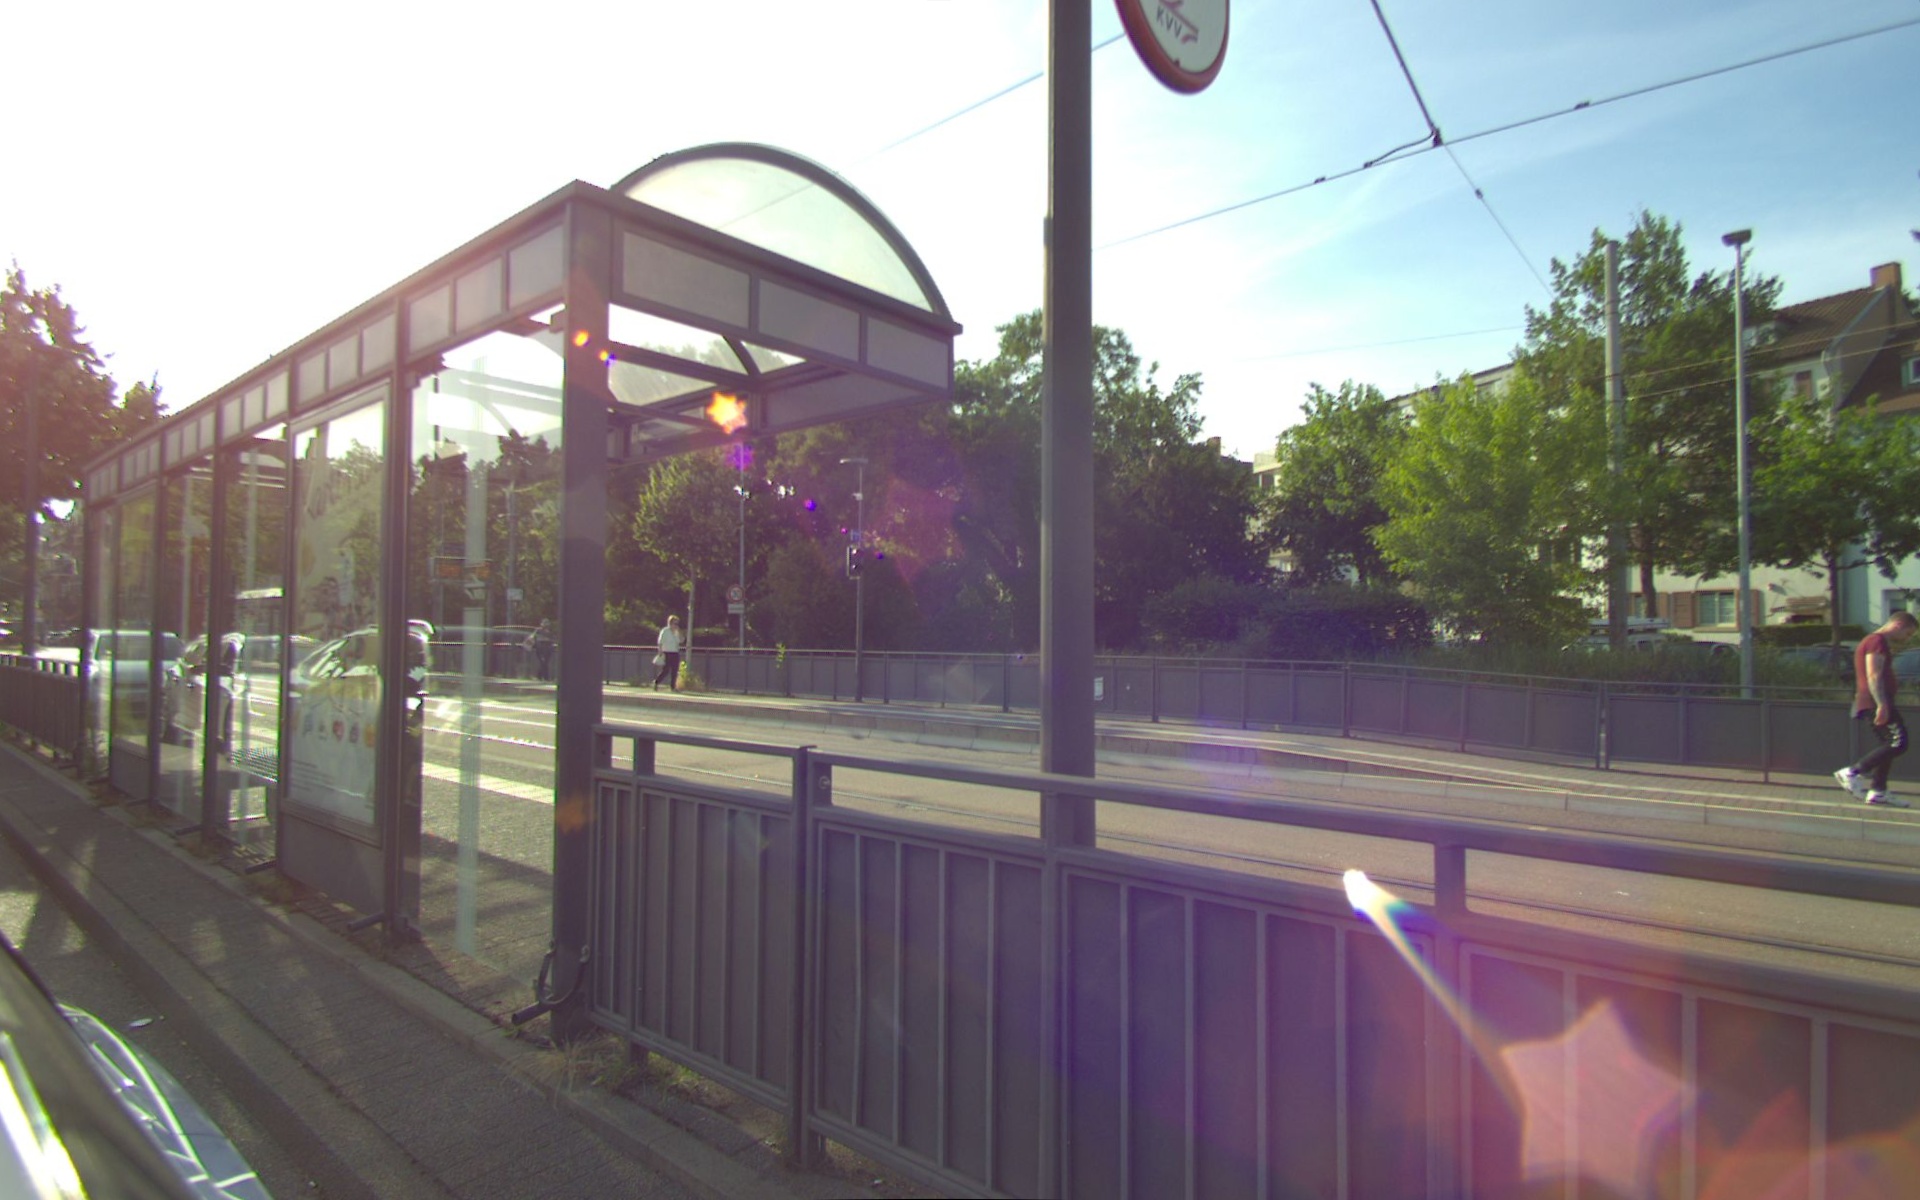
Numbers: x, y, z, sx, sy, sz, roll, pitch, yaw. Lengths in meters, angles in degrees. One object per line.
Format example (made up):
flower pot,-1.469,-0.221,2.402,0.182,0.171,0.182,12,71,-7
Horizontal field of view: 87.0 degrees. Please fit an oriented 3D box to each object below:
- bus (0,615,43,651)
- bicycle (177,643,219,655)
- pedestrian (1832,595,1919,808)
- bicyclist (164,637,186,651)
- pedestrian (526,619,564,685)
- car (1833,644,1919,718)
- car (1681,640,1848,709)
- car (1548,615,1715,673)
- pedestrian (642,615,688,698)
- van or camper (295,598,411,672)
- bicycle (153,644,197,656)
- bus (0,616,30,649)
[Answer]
bus,-95.366,3.266,102.714,9.258,3.461,2.405,-1,0,41
bicycle,-58.555,3.778,77.741,2.502,0.888,0.631,3,-3,-45
pedestrian,7.788,0.831,8.335,0.877,1.697,0.547,-2,-6,41
bicyclist,-58.800,3.289,75.806,0.671,1.032,1.200,-2,-3,44
pedestrian,-10.863,1.361,26.492,0.618,1.697,0.613,-2,-6,41
car,19.634,1.607,20.612,3.935,1.409,2.004,2,-3,-37
car,18.181,1.630,22.839,3.935,1.409,2.004,2,-3,-37
car,18.221,1.207,27.489,3.930,1.497,1.854,1,-3,-22
pedestrian,-6.244,1.197,21.425,0.618,1.697,0.613,-2,-6,41
van or camper,-26.310,1.438,43.772,6.408,2.990,2.494,-1,0,41
bicycle,-58.814,3.731,75.816,0.631,0.888,2.502,-2,-3,45
bus,-102.294,3.438,108.853,9.258,3.461,2.405,-1,0,41
